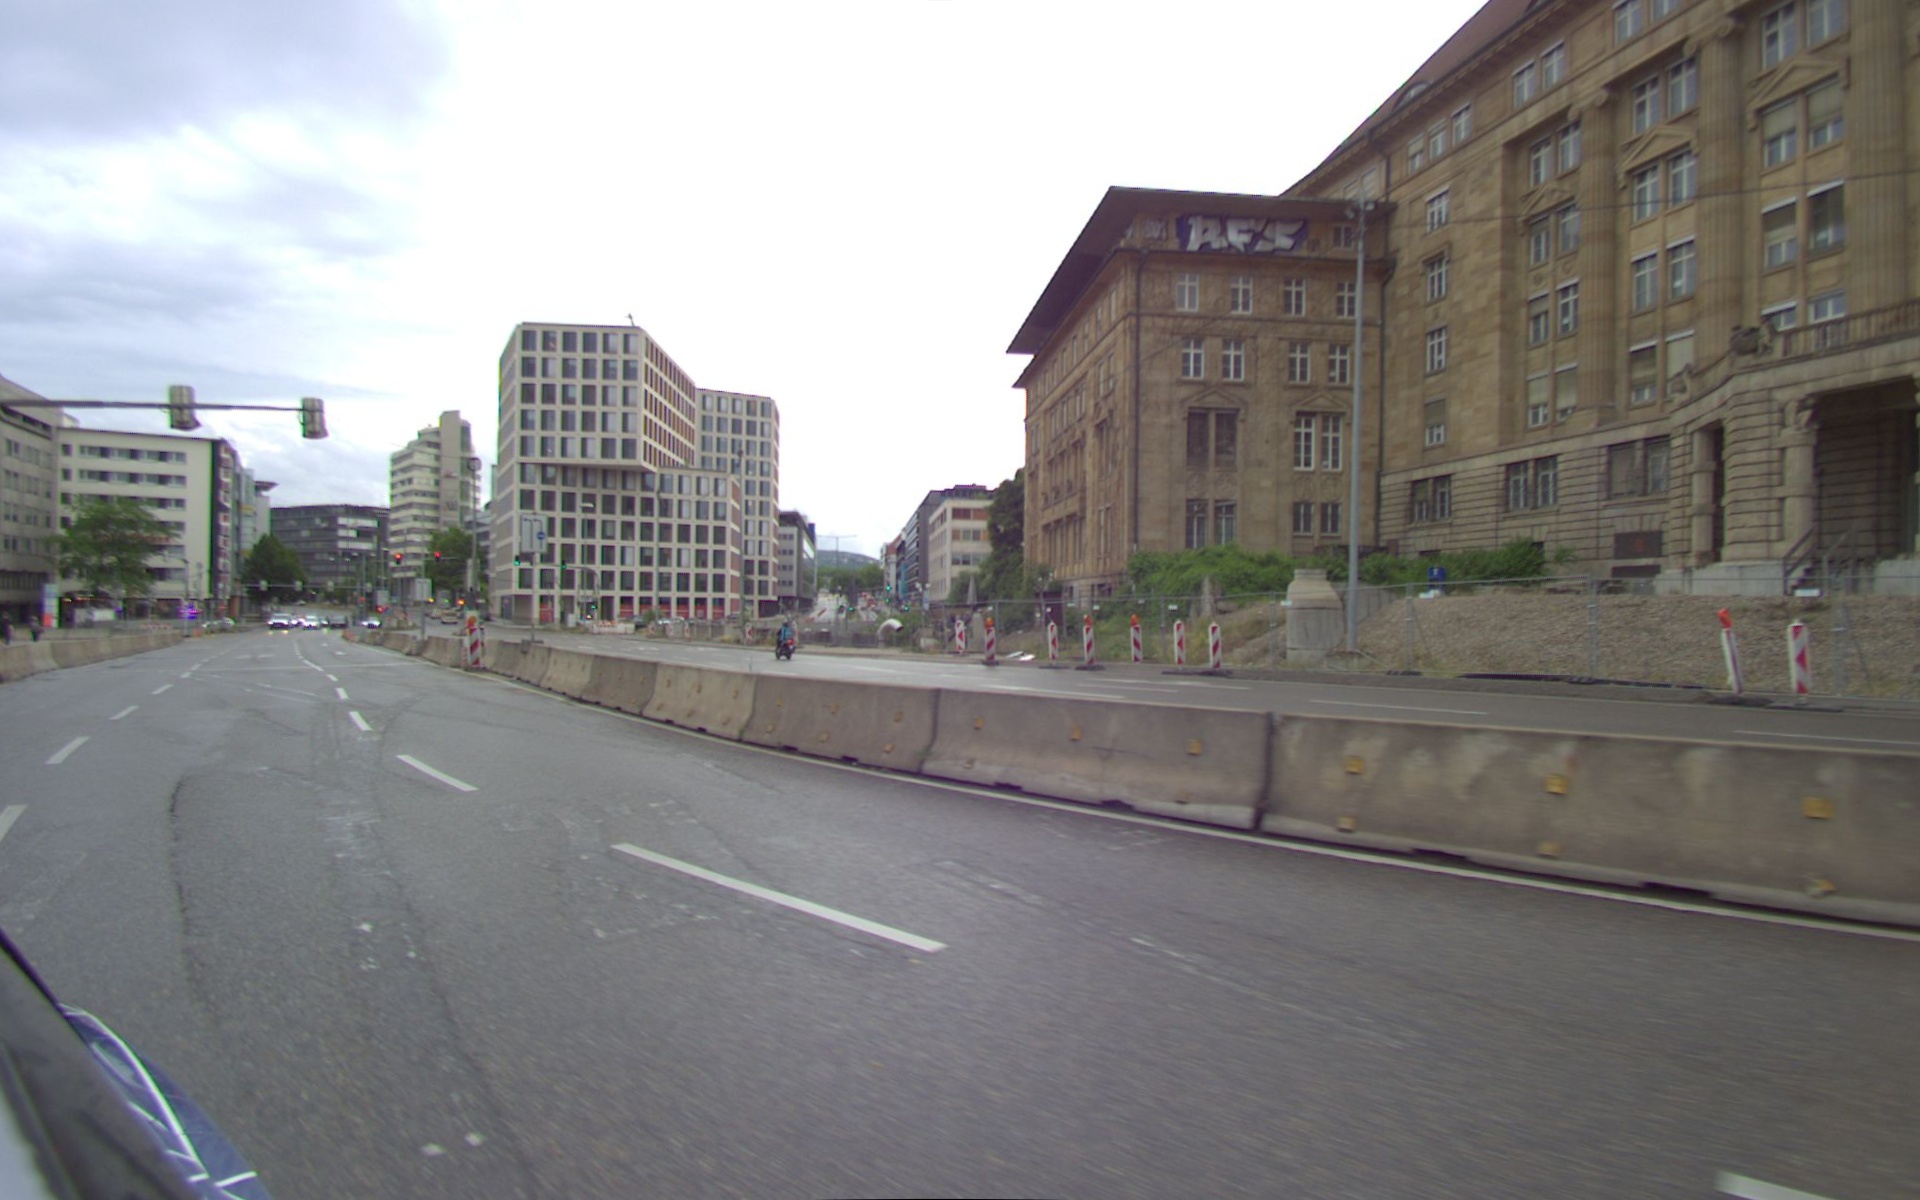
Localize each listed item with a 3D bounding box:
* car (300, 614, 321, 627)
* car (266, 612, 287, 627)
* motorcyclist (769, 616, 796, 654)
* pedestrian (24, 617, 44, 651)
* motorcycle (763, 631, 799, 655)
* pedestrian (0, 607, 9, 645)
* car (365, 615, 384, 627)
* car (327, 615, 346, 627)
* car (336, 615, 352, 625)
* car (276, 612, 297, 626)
[{"bbox_3d":[-80.141,2.519,124.840,1.967,1.464,4.009,1,-1,-37],"label":"car"},{"bbox_3d":[-83.631,2.346,123.857,1.967,1.838,4.009,1,-1,-37],"label":"car"},{"bbox_3d":[-7.217,1.415,41.164,0.693,1.498,0.965,1,-1,-37],"label":"motorcyclist"},{"bbox_3d":[-48.198,1.776,52.691,0.548,1.774,0.645,-1,-3,43],"label":"pedestrian"},{"bbox_3d":[-7.301,1.747,41.257,0.693,0.899,1.827,1,-1,-37],"label":"motorcycle"},{"bbox_3d":[-44.400,1.190,46.634,0.766,1.774,0.746,-1,-3,43],"label":"pedestrian"},{"bbox_3d":[-74.372,2.639,128.527,1.763,1.464,3.680,1,-1,-37],"label":"car"},{"bbox_3d":[-77.610,2.560,125.927,1.682,1.464,3.804,1,-1,-37],"label":"car"},{"bbox_3d":[-105.862,3.441,174.015,1.967,1.730,4.009,1,-1,-37],"label":"car"},{"bbox_3d":[-87.539,2.456,131.541,1.967,1.863,4.009,1,-1,-37],"label":"car"}]
